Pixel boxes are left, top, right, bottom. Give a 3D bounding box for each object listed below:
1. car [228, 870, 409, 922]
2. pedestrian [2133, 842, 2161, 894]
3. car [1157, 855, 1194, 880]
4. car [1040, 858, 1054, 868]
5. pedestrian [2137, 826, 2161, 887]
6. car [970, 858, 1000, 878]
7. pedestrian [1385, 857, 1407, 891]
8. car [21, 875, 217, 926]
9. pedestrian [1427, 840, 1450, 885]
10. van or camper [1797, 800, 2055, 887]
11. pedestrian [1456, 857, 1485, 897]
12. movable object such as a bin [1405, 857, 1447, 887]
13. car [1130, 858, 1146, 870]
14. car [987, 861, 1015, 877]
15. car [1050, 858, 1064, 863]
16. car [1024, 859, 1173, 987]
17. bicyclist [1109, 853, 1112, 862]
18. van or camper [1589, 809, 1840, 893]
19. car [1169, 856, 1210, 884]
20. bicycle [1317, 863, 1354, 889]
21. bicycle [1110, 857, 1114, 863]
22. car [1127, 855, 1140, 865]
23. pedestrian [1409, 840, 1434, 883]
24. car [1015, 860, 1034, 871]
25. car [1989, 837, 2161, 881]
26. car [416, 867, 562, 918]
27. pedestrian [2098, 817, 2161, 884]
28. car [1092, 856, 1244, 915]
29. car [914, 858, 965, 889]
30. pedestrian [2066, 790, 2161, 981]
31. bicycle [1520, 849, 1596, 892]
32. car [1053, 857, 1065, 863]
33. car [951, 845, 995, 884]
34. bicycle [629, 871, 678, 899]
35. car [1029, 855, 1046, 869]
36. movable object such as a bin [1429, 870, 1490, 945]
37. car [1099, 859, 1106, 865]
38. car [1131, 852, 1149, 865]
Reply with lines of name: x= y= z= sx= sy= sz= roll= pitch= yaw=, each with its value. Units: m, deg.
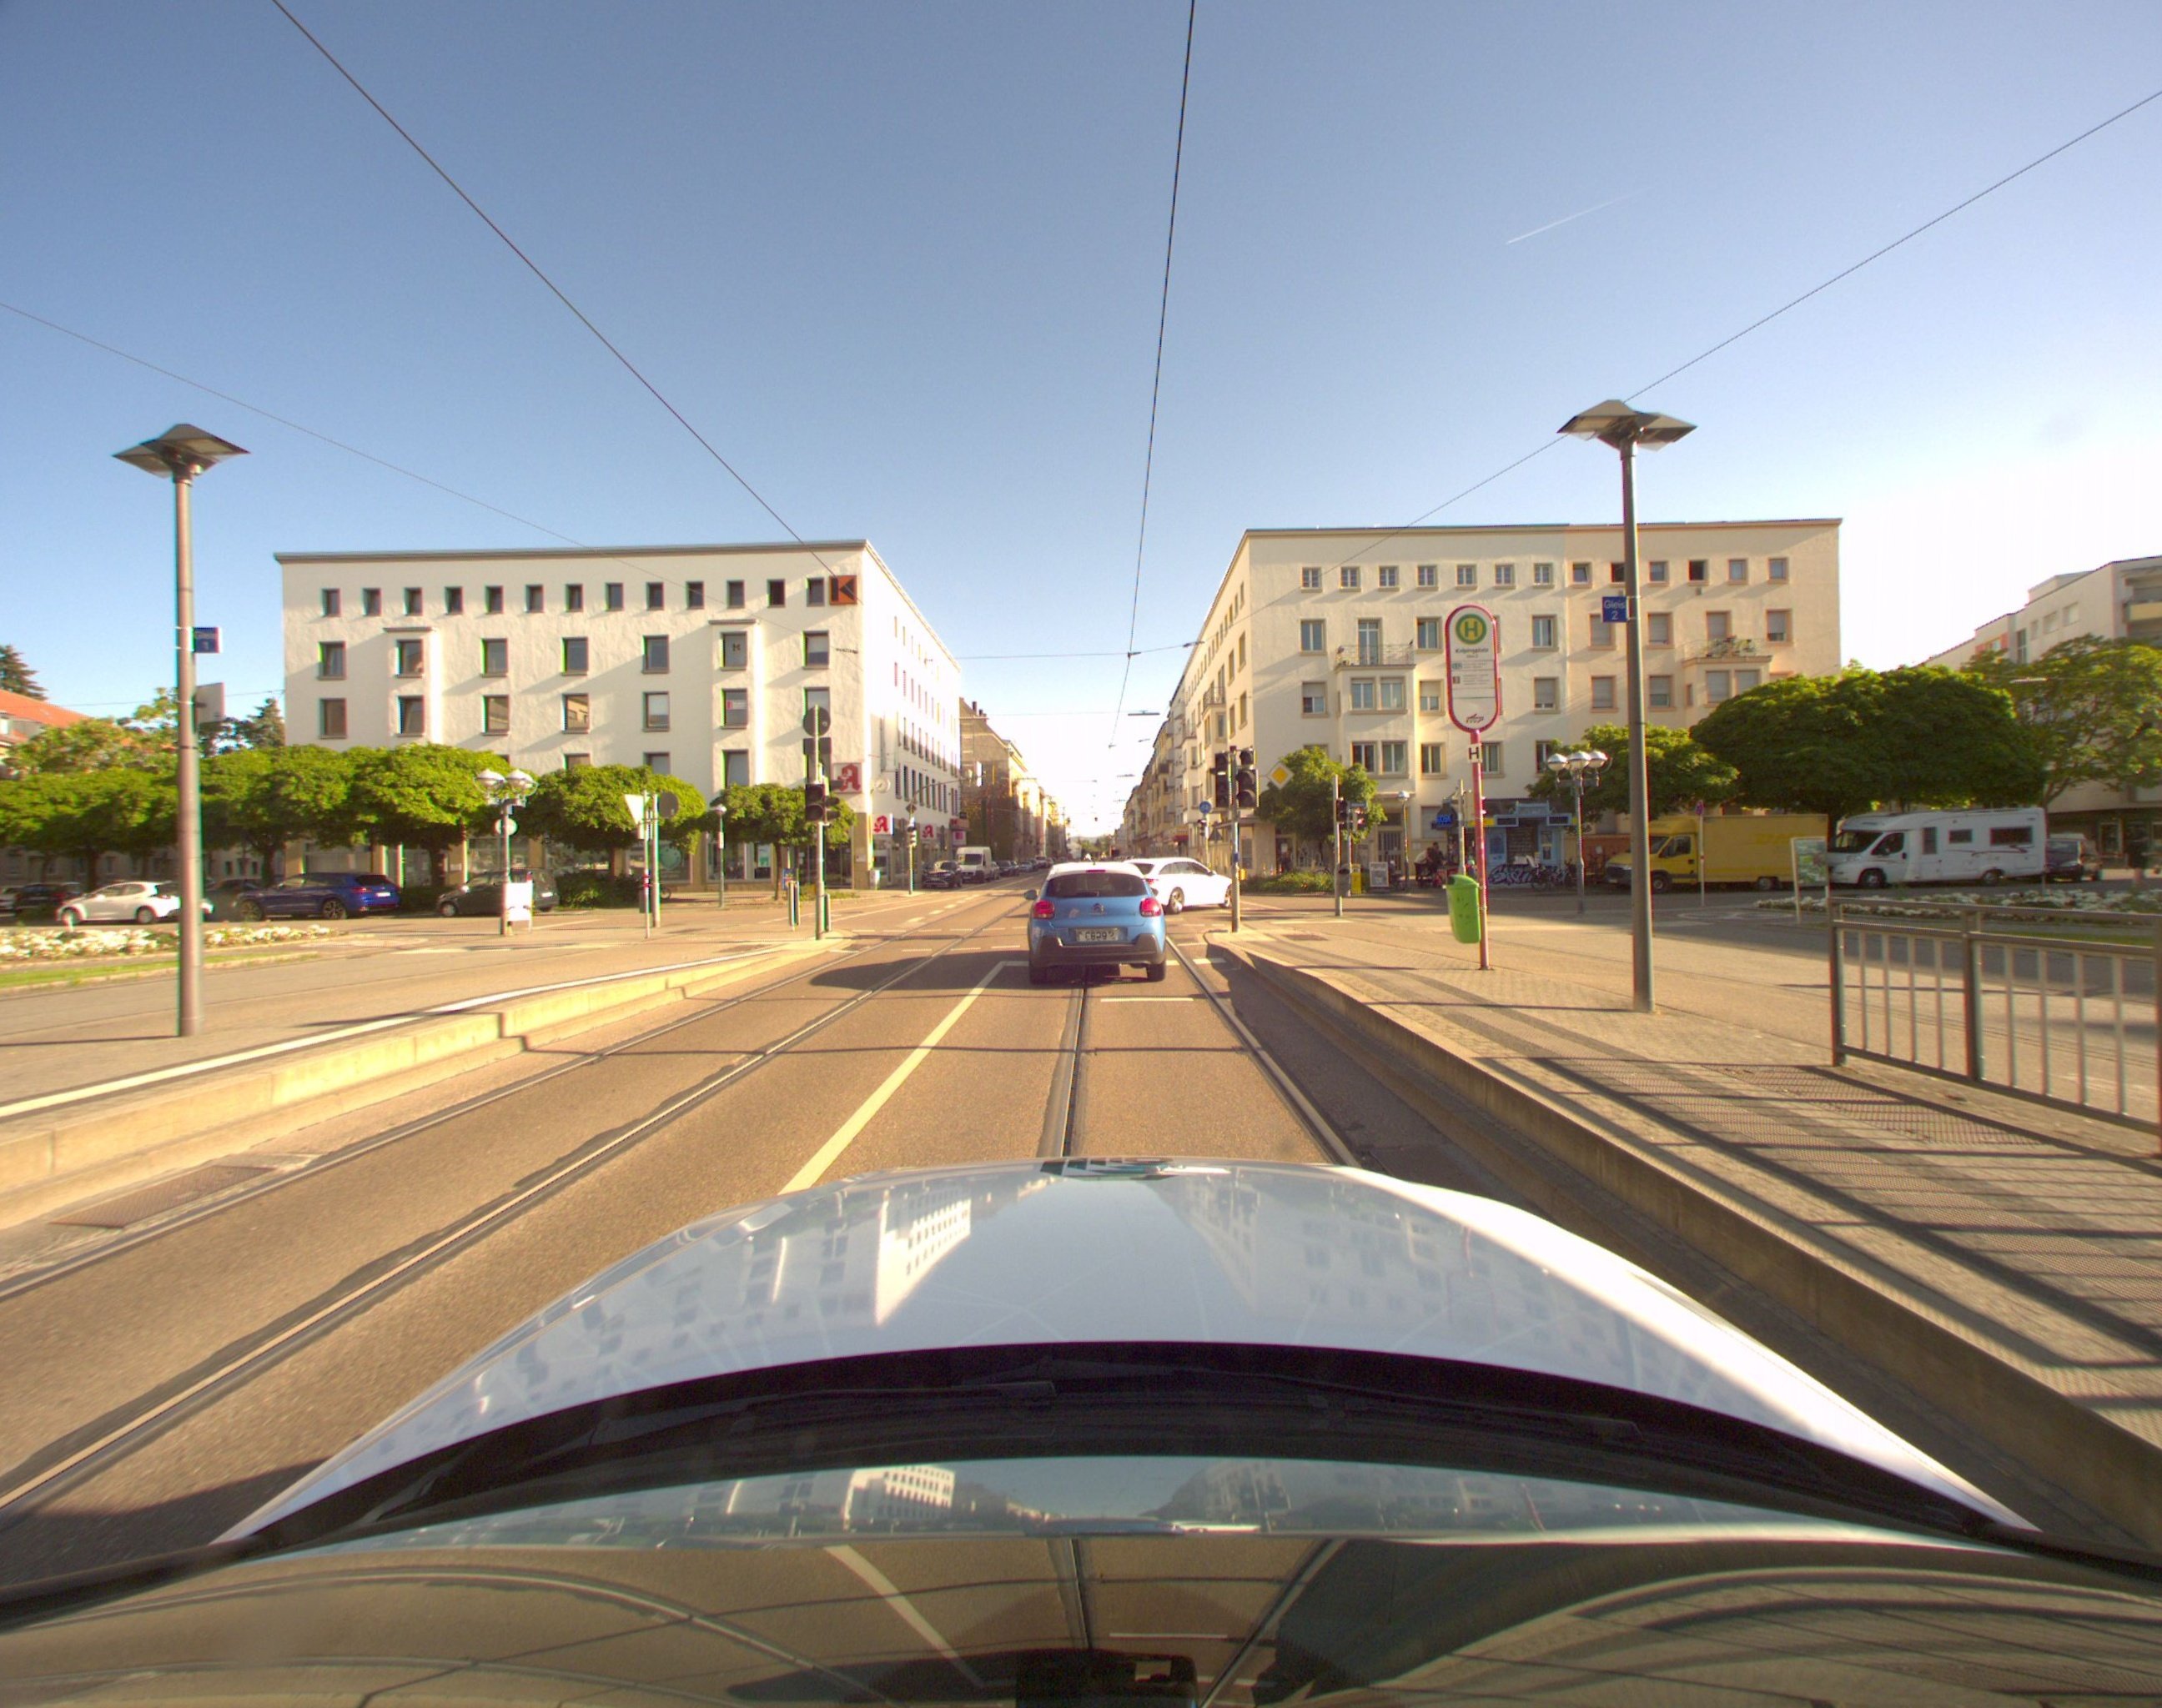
car: x=-27.429 y=1.485 z=29.417 sx=4.591 sy=1.662 sz=1.999 roll=-1 pitch=0 yaw=-1
pedestrian: x=27.147 y=0.344 z=20.332 sx=0.897 sy=1.279 sz=0.605 roll=-1 pitch=-1 yaw=4
car: x=5.889 y=0.837 z=51.030 sx=1.986 sy=1.464 sz=4.002 roll=-1 pitch=0 yaw=2
car: x=-5.432 y=1.497 z=130.462 sx=1.946 sy=1.552 sz=3.942 roll=0 pitch=-1 yaw=4
pedestrian: x=28.763 y=0.060 z=21.475 sx=0.897 sy=1.585 sz=0.663 roll=-1 pitch=-1 yaw=5
car: x=-7.385 y=1.110 z=63.063 sx=1.881 sy=1.496 sz=3.562 roll=0 pitch=-1 yaw=1
pedestrian: x=12.468 y=0.797 z=32.235 sx=0.733 sy=1.316 sz=0.631 roll=-1 pitch=-1 yaw=25
car: x=-33.757 y=1.617 z=28.677 sx=4.591 sy=1.606 sz=1.855 roll=-1 pitch=-1 yaw=-1
pedestrian: x=15.033 y=0.358 z=34.237 sx=0.650 sy=1.839 sz=0.660 roll=-1 pitch=-1 yaw=5
van or camper: x=29.880 y=-0.347 z=29.016 sx=6.375 sy=2.839 sz=2.381 roll=-1 pitch=-1 yaw=5
pedestrian: x=14.306 y=0.829 z=29.899 sx=0.727 sy=1.409 sz=0.755 roll=-1 pitch=3 yaw=1
movable object such as a bin: x=14.116 y=0.723 z=33.340 sx=1.194 sy=1.153 sz=1.218 roll=-1 pitch=-1 yaw=2
car: x=7.359 y=1.253 z=104.975 sx=1.986 sy=1.464 sz=4.002 roll=-1 pitch=0 yaw=2
car: x=-7.021 y=1.289 z=71.745 sx=1.987 sy=1.398 sz=4.157 roll=0 pitch=-1 yaw=1
car: x=-5.248 y=1.452 z=178.470 sx=1.981 sy=1.156 sz=4.528 roll=-1 pitch=0 yaw=11
car: x=0.255 y=0.813 z=11.373 sx=1.721 sy=1.482 sz=3.828 roll=0 pitch=0 yaw=1
bicyclist: x=7.009 y=0.840 z=192.836 sx=0.806 sy=2.014 sz=0.923 roll=0 pitch=-1 yaw=3
van or camper: x=22.617 y=-0.109 z=29.332 sx=7.093 sy=2.747 sz=2.372 roll=-1 pitch=1 yaw=2
car: x=6.049 y=0.883 z=45.821 sx=1.902 sy=1.464 sz=4.002 roll=-1 pitch=0 yaw=2
bicycle: x=11.176 y=0.974 z=35.772 sx=1.556 sy=1.120 sz=0.301 roll=0 pitch=-1 yaw=12
bicycle: x=7.371 y=1.419 z=193.106 sx=0.916 sy=1.389 sz=3.133 roll=-1 pitch=0 yaw=2
car: x=8.122 y=0.926 z=126.532 sx=1.986 sy=1.464 sz=4.002 roll=-1 pitch=0 yaw=2
pedestrian: x=14.852 y=0.313 z=35.558 sx=0.781 sy=1.839 sz=0.679 roll=-1 pitch=-1 yaw=5
car: x=-6.696 y=1.380 z=96.709 sx=1.987 sy=1.325 sz=3.923 roll=0 pitch=-1 yaw=1
car: x=36.424 y=0.192 z=29.699 sx=3.959 sy=1.512 sz=2.007 roll=0 pitch=-1 yaw=13
car: x=-21.488 y=1.370 z=29.682 sx=3.973 sy=1.706 sz=1.826 roll=-1 pitch=-1 yaw=1
pedestrian: x=27.356 y=-0.091 z=21.170 sx=0.897 sy=1.685 sz=0.696 roll=-1 pitch=-1 yaw=5
car: x=2.560 y=0.807 z=22.814 sx=1.965 sy=1.464 sz=4.846 roll=-1 pitch=-1 yaw=37
car: x=-7.914 y=1.086 z=46.022 sx=1.987 sy=1.569 sz=4.403 roll=2 pitch=-1 yaw=1
pedestrian: x=11.087 y=0.304 z=8.170 sx=0.978 sy=1.878 sz=1.128 roll=-1 pitch=-2 yaw=-1
bicycle: x=17.477 y=0.599 z=29.869 sx=2.376 sy=1.531 sz=0.726 roll=1 pitch=0 yaw=0
car: x=-3.980 y=1.106 z=147.811 sx=1.986 sy=1.156 sz=4.002 roll=-1 pitch=0 yaw=2
car: x=-7.391 y=0.676 z=56.382 sx=2.078 sy=2.542 sz=6.205 roll=0 pitch=0 yaw=1
bicycle: x=-19.358 y=1.372 z=36.958 sx=0.615 sy=1.190 sz=2.624 roll=-1 pitch=0 yaw=5
car: x=-6.358 y=1.165 z=120.413 sx=1.997 sy=2.014 sz=4.693 roll=0 pitch=-1 yaw=3
movable object such as a bin: x=4.137 y=0.578 z=8.917 sx=0.447 sy=0.786 sz=0.489 roll=-1 pitch=-1 yaw=4
car: x=6.561 y=2.395 z=250.859 sx=1.986 sy=1.772 sz=4.001 roll=-1 pitch=0 yaw=2
car: x=6.898 y=0.519 z=95.650 sx=1.986 sy=1.464 sz=4.507 roll=-1 pitch=0 yaw=2
